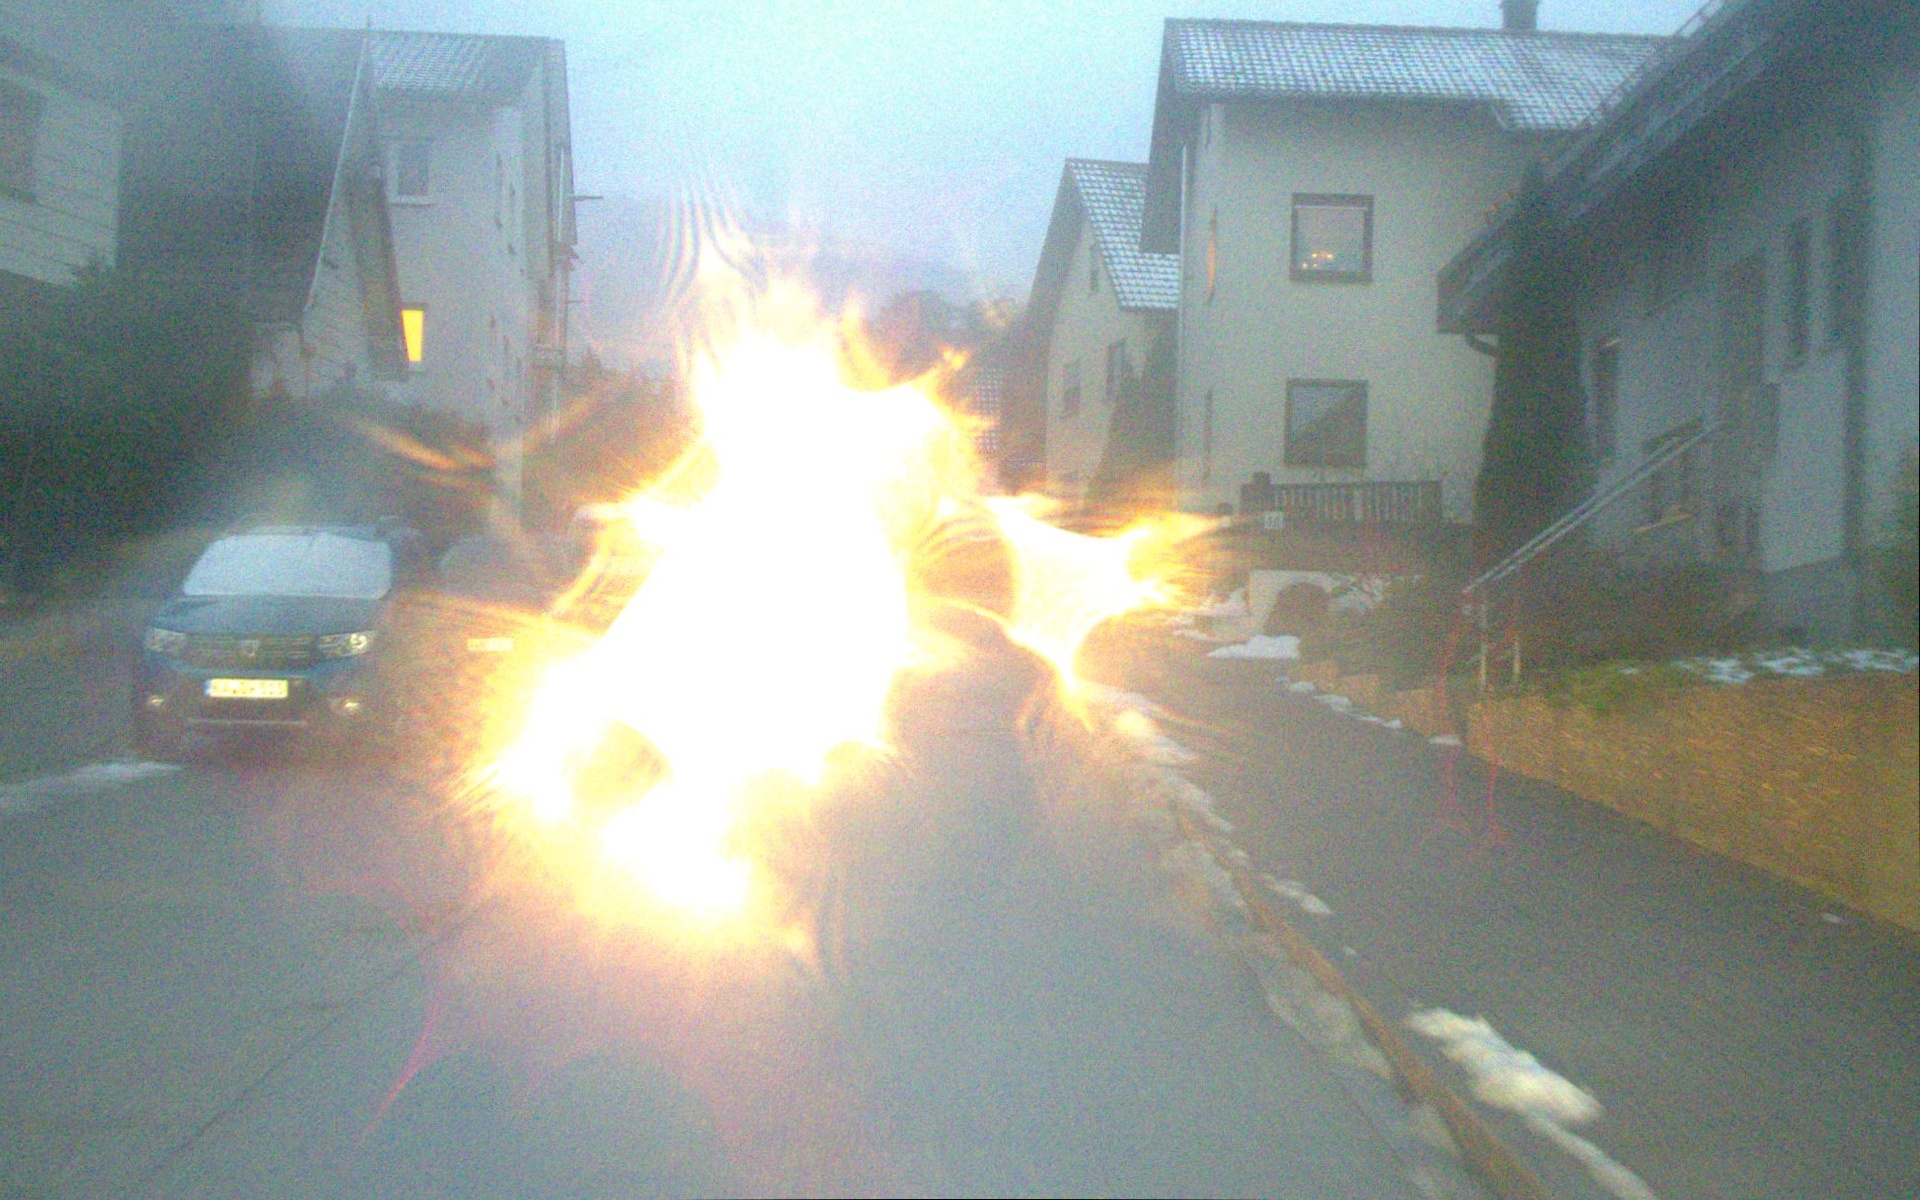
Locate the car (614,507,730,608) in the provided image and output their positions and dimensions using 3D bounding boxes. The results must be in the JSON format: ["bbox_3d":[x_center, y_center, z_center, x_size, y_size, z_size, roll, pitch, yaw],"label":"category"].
[{"bbox_3d":[-5.263,-0.803,63.221,1.993,1.794,4.001,0,1,-3],"label":"car"}]

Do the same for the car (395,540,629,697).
[{"bbox_3d":[-4.555,0.139,35.489,1.794,1.498,4.310,0,1,1],"label":"car"}]

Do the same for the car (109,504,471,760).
[{"bbox_3d":[-4.488,0.187,23.596,1.683,1.579,4.176,1,0,0],"label":"car"}]

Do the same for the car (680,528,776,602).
[{"bbox_3d":[-5.465,-0.801,81.438,1.993,1.644,4.000,1,0,-1],"label":"car"}]

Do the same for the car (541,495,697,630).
[{"bbox_3d":[-4.799,-0.561,48.930,1.825,1.829,4.345,0,1,-1],"label":"car"}]
